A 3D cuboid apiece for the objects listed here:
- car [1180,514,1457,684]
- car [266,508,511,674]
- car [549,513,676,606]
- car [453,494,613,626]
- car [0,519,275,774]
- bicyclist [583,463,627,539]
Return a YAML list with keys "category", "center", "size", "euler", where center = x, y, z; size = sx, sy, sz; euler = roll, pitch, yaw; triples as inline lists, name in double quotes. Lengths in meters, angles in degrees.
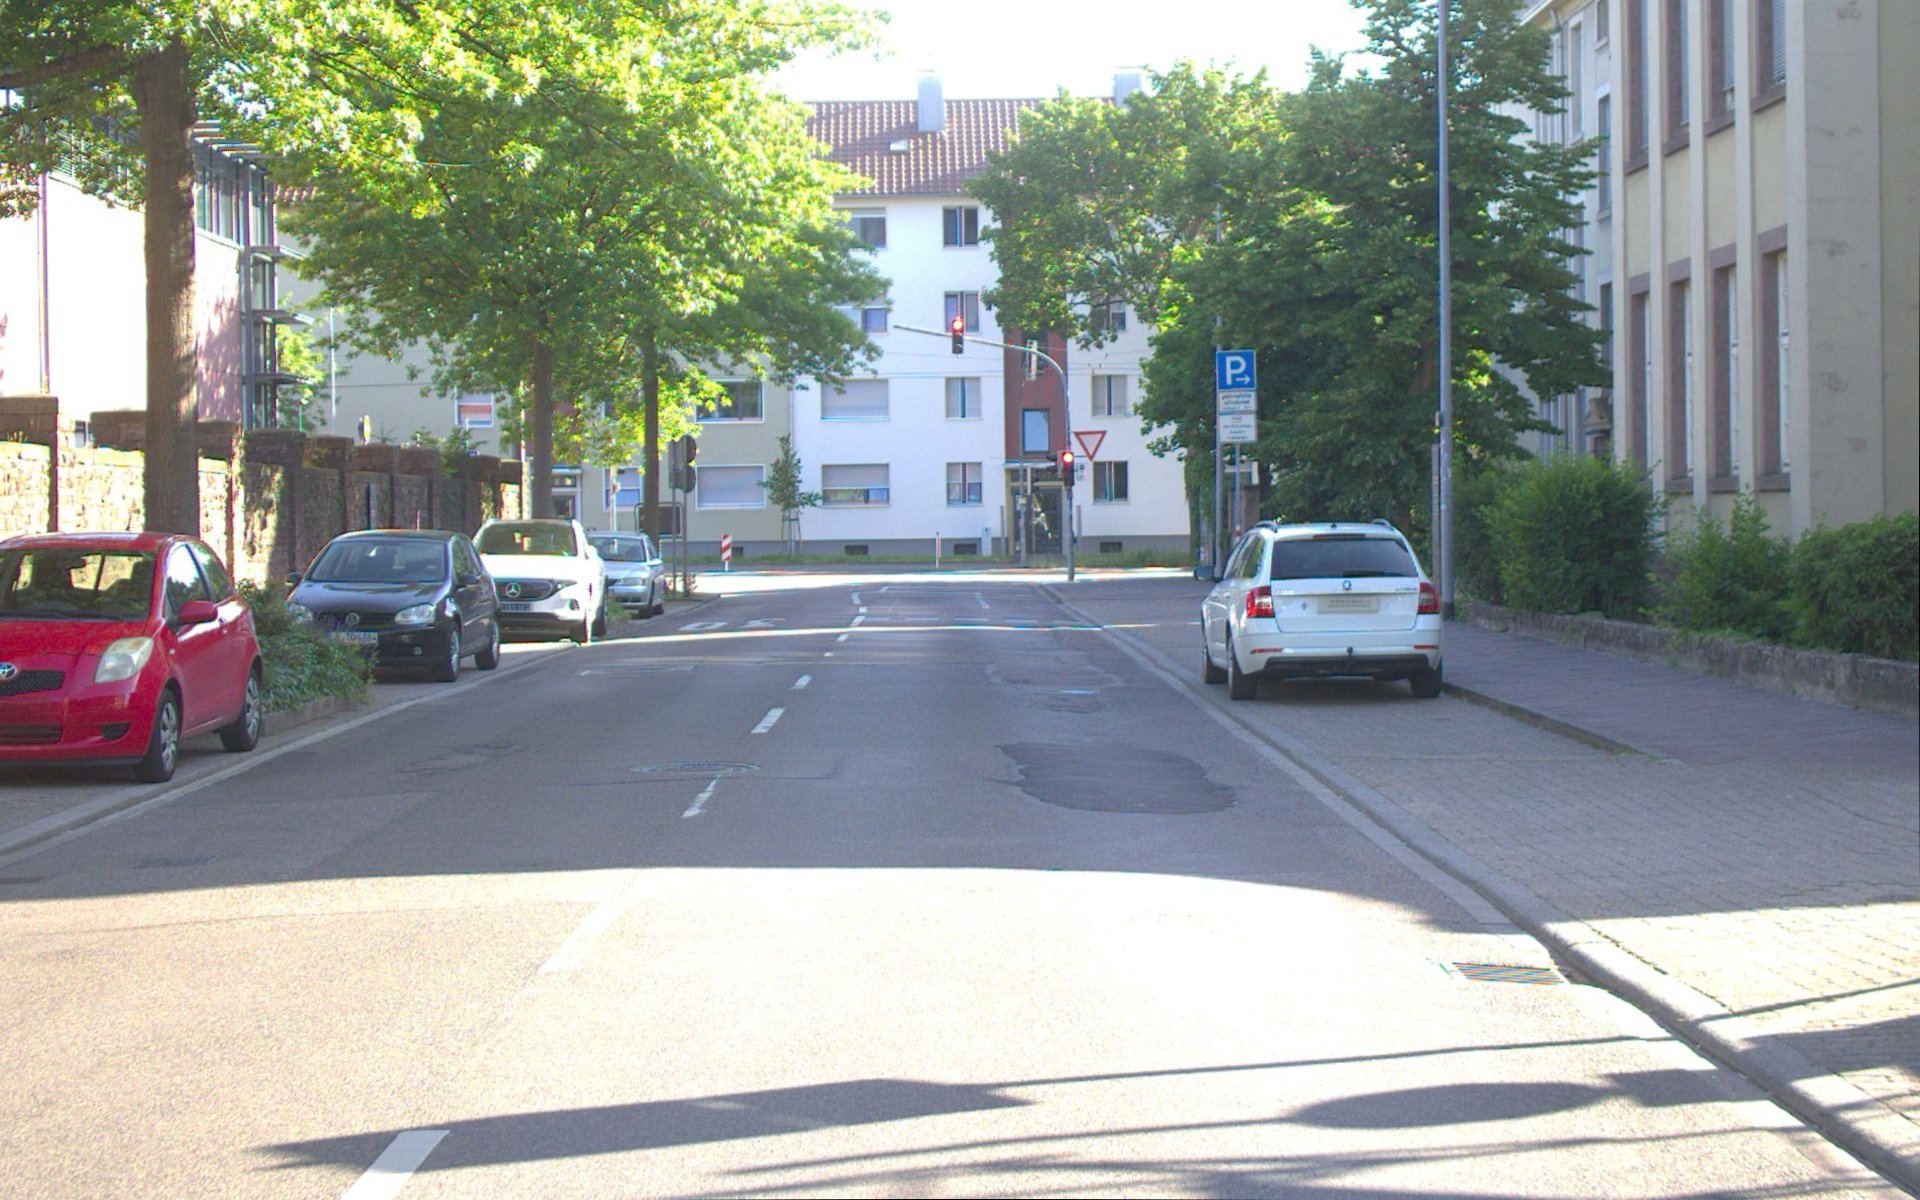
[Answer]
- category: "car"
  center: [3.002, -0.061, 29.651]
  size: [1.832, 1.318, 4.497]
  euler: [-1, 2, -1]
- category: "car"
  center: [-5.769, -0.143, 35.142]
  size: [1.737, 1.587, 4.107]
  euler: [0, 2, 1]
- category: "car"
  center: [-5.837, -0.715, 58.128]
  size: [1.726, 1.470, 4.479]
  euler: [1, 2, -1]
- category: "car"
  center: [-5.669, -0.576, 46.041]
  size: [1.720, 1.678, 4.351]
  euler: [0, 2, -2]
- category: "car"
  center: [-5.602, 0.232, 22.152]
  size: [1.609, 1.454, 3.708]
  euler: [1, 1, 0]
- category: "bicyclist"
  center: [-8.170, -2.279, 79.156]
  size: [0.787, 1.751, 0.612]
  euler: [-1, 2, -41]
